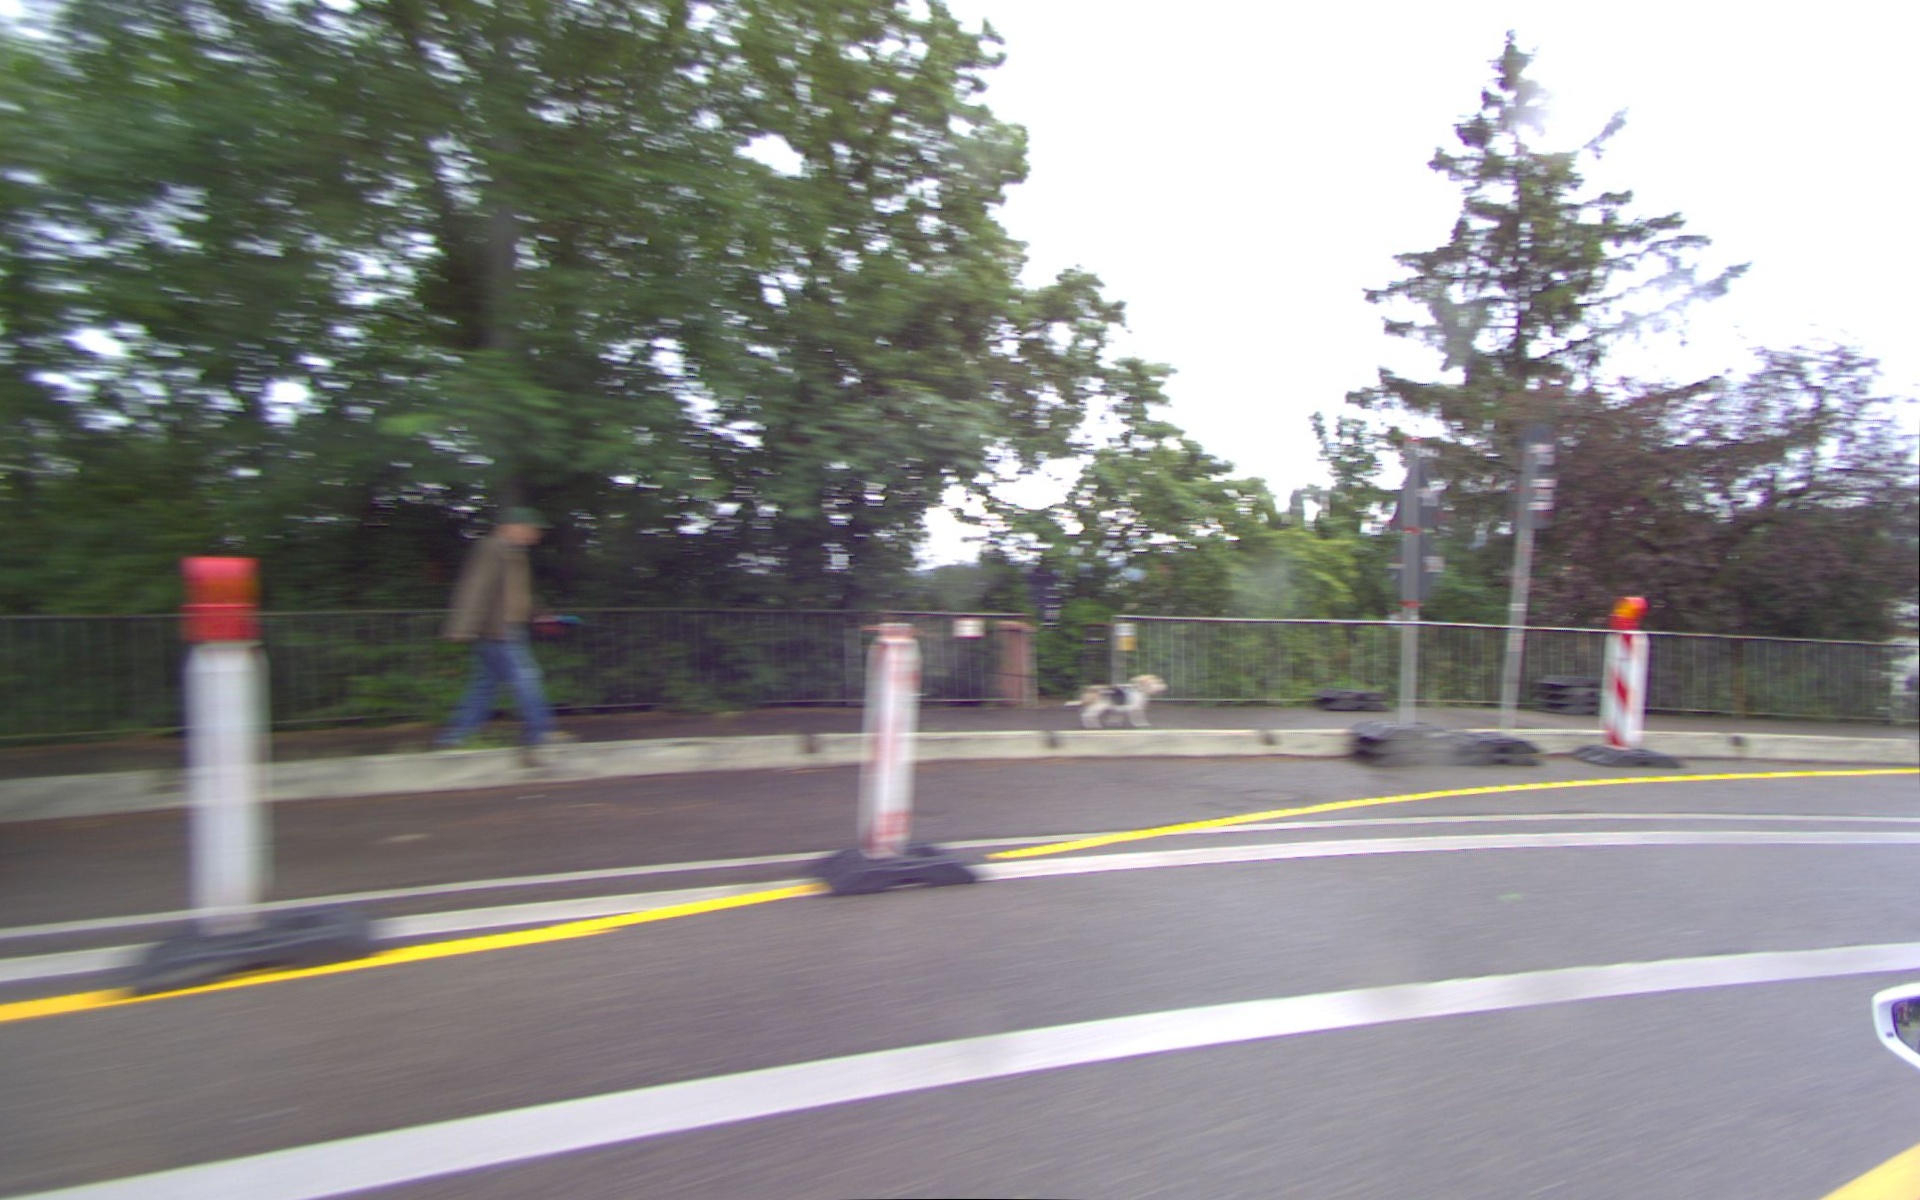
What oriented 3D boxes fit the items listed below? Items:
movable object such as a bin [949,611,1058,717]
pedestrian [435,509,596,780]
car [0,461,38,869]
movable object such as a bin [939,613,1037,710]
[{"bbox_3d":[0.461,0.693,11.195,1.009,1.121,0.987,1,-1,-11],"label":"movable object such as a bin"},{"bbox_3d":[-3.159,0.302,7.251,0.966,1.791,0.921,1,0,-21],"label":"pedestrian"},{"bbox_3d":[-6.718,0.304,3.425,4.887,2.041,1.985,1,1,-29],"label":"car"},{"bbox_3d":[0.324,0.721,12.240,1.009,1.121,0.987,0,0,-11],"label":"movable object such as a bin"}]
